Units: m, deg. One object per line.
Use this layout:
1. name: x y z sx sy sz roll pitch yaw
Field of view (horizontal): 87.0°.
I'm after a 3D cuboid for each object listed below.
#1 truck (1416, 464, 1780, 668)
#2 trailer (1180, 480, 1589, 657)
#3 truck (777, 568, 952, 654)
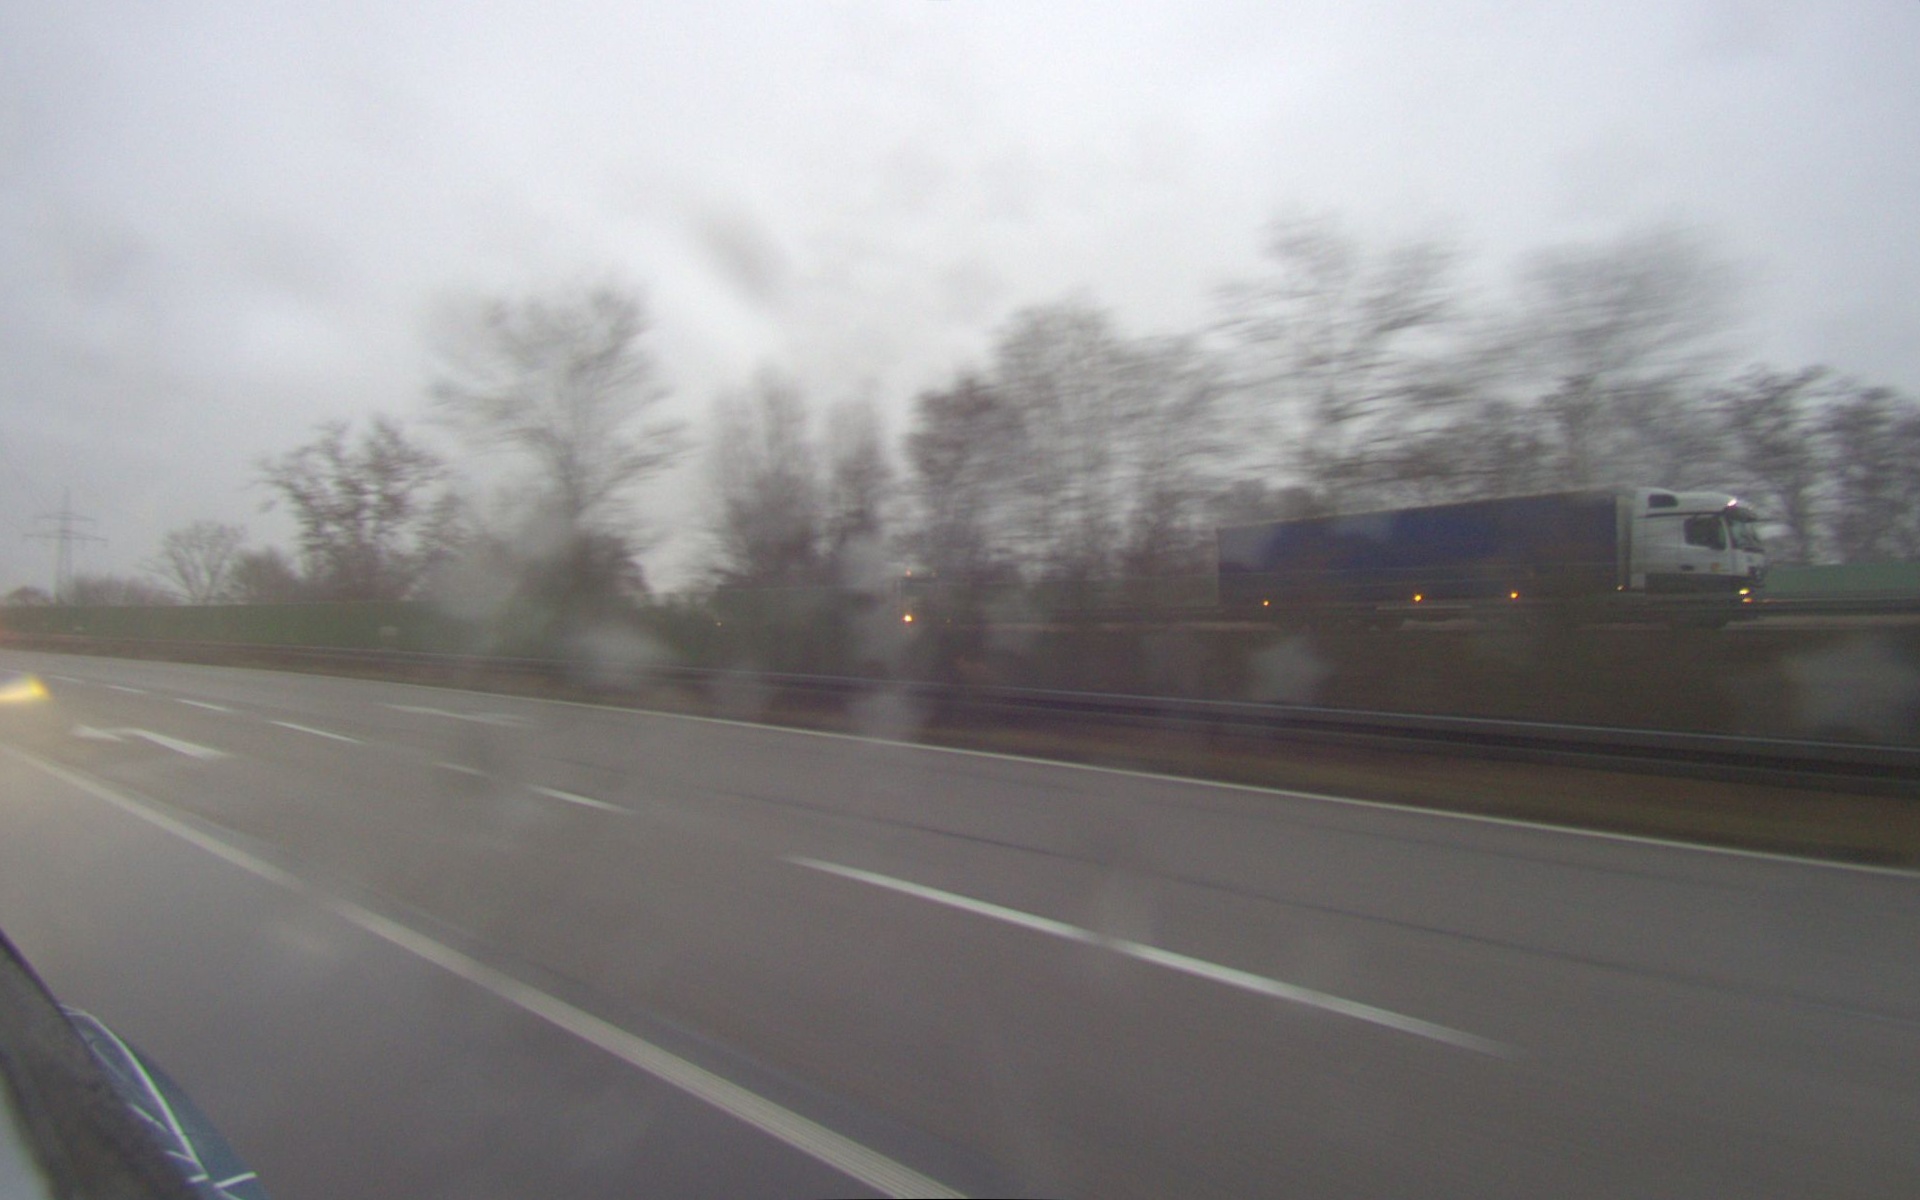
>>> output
1. truck: 18.478 -0.848 29.965 3.234 5.169 8.534 2 -1 -39
2. trailer: 14.040 -0.889 35.478 3.259 5.142 13.255 2 -1 -39
3. truck: -6.147 0.596 61.380 3.234 4.645 13.899 2 -1 -40
